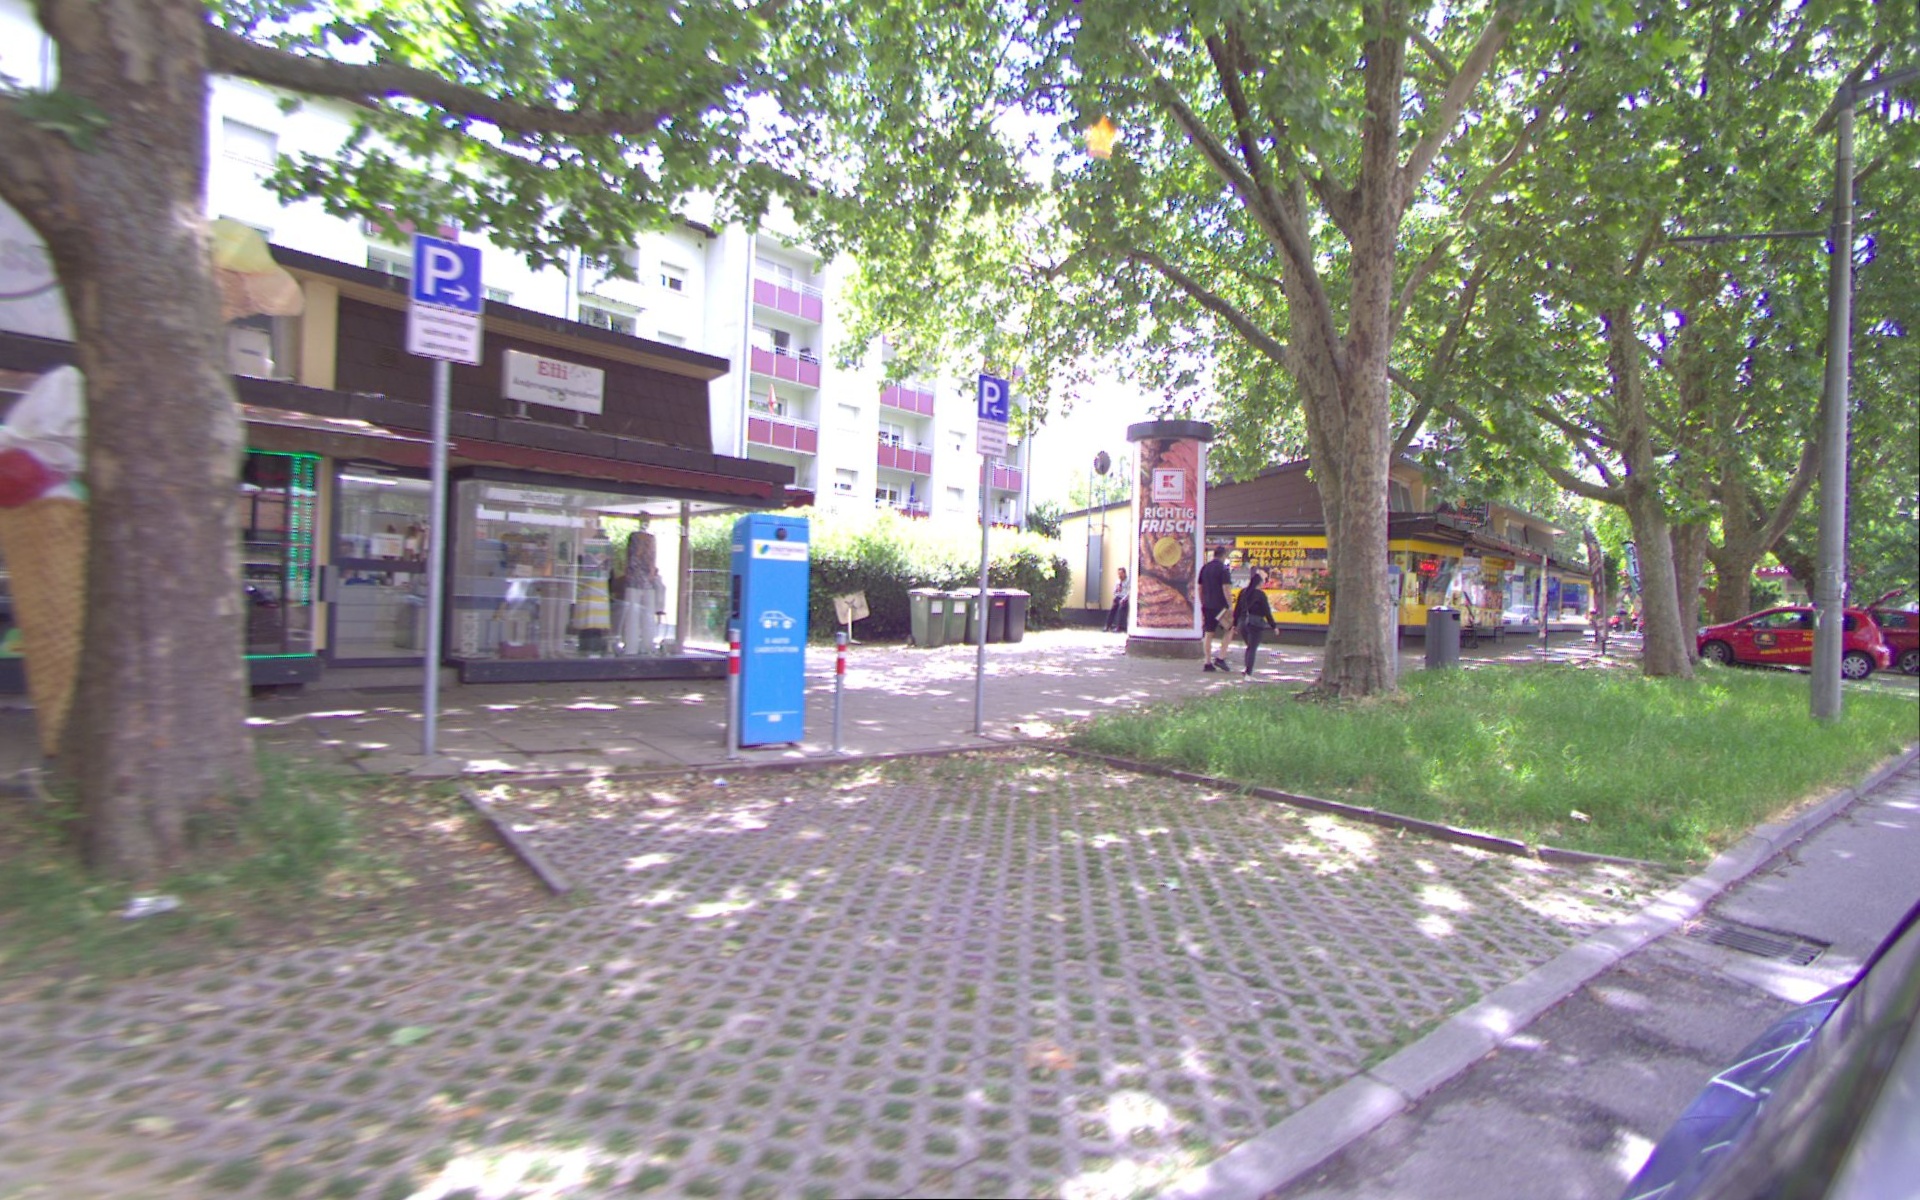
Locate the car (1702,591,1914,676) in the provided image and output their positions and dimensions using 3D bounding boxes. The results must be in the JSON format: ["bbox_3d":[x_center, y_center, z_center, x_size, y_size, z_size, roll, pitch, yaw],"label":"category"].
[{"bbox_3d":[18.860,0.690,22.592,1.583,1.533,3.411,1,3,-44],"label":"car"}]

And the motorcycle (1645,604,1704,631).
[{"bbox_3d":[33.847,0.816,47.953,0.725,1.210,2.140,2,1,-31],"label":"motorcycle"}]

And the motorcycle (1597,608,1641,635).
[{"bbox_3d":[32.454,1.029,49.883,0.726,1.210,2.138,2,1,1],"label":"motorcycle"}]

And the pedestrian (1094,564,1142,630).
[{"bbox_3d":[3.850,-0.078,24.657,0.750,1.554,0.894,1,0,42],"label":"pedestrian"}]

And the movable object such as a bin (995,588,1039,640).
[{"bbox_3d":[1.185,0.285,21.140,0.637,1.046,0.624,1,1,-44],"label":"movable object such as a bin"}]

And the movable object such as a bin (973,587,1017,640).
[{"bbox_3d":[0.715,0.275,20.653,0.637,1.046,0.624,1,1,-44],"label":"movable object such as a bin"}]

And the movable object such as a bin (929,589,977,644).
[{"bbox_3d":[-0.134,0.308,19.554,0.637,1.029,0.624,1,1,-44],"label":"movable object such as a bin"}]

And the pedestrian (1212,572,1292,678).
[{"bbox_3d":[4.203,0.345,14.567,1.010,1.466,0.626,2,0,-41],"label":"pedestrian"}]

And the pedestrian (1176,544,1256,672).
[{"bbox_3d":[3.977,0.104,15.727,0.925,1.906,0.745,1,2,-41],"label":"pedestrian"}]

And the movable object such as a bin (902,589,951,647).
[{"bbox_3d":[-0.631,0.331,18.962,0.637,1.029,0.624,1,1,-44],"label":"movable object such as a bin"}]

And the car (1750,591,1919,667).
[{"bbox_3d":[22.317,0.701,25.032,1.699,1.631,4.041,2,2,-37],"label":"car"}]

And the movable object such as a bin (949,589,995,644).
[{"bbox_3d":[0.247,0.318,20.147,0.637,1.046,0.624,1,1,-44],"label":"movable object such as a bin"}]
